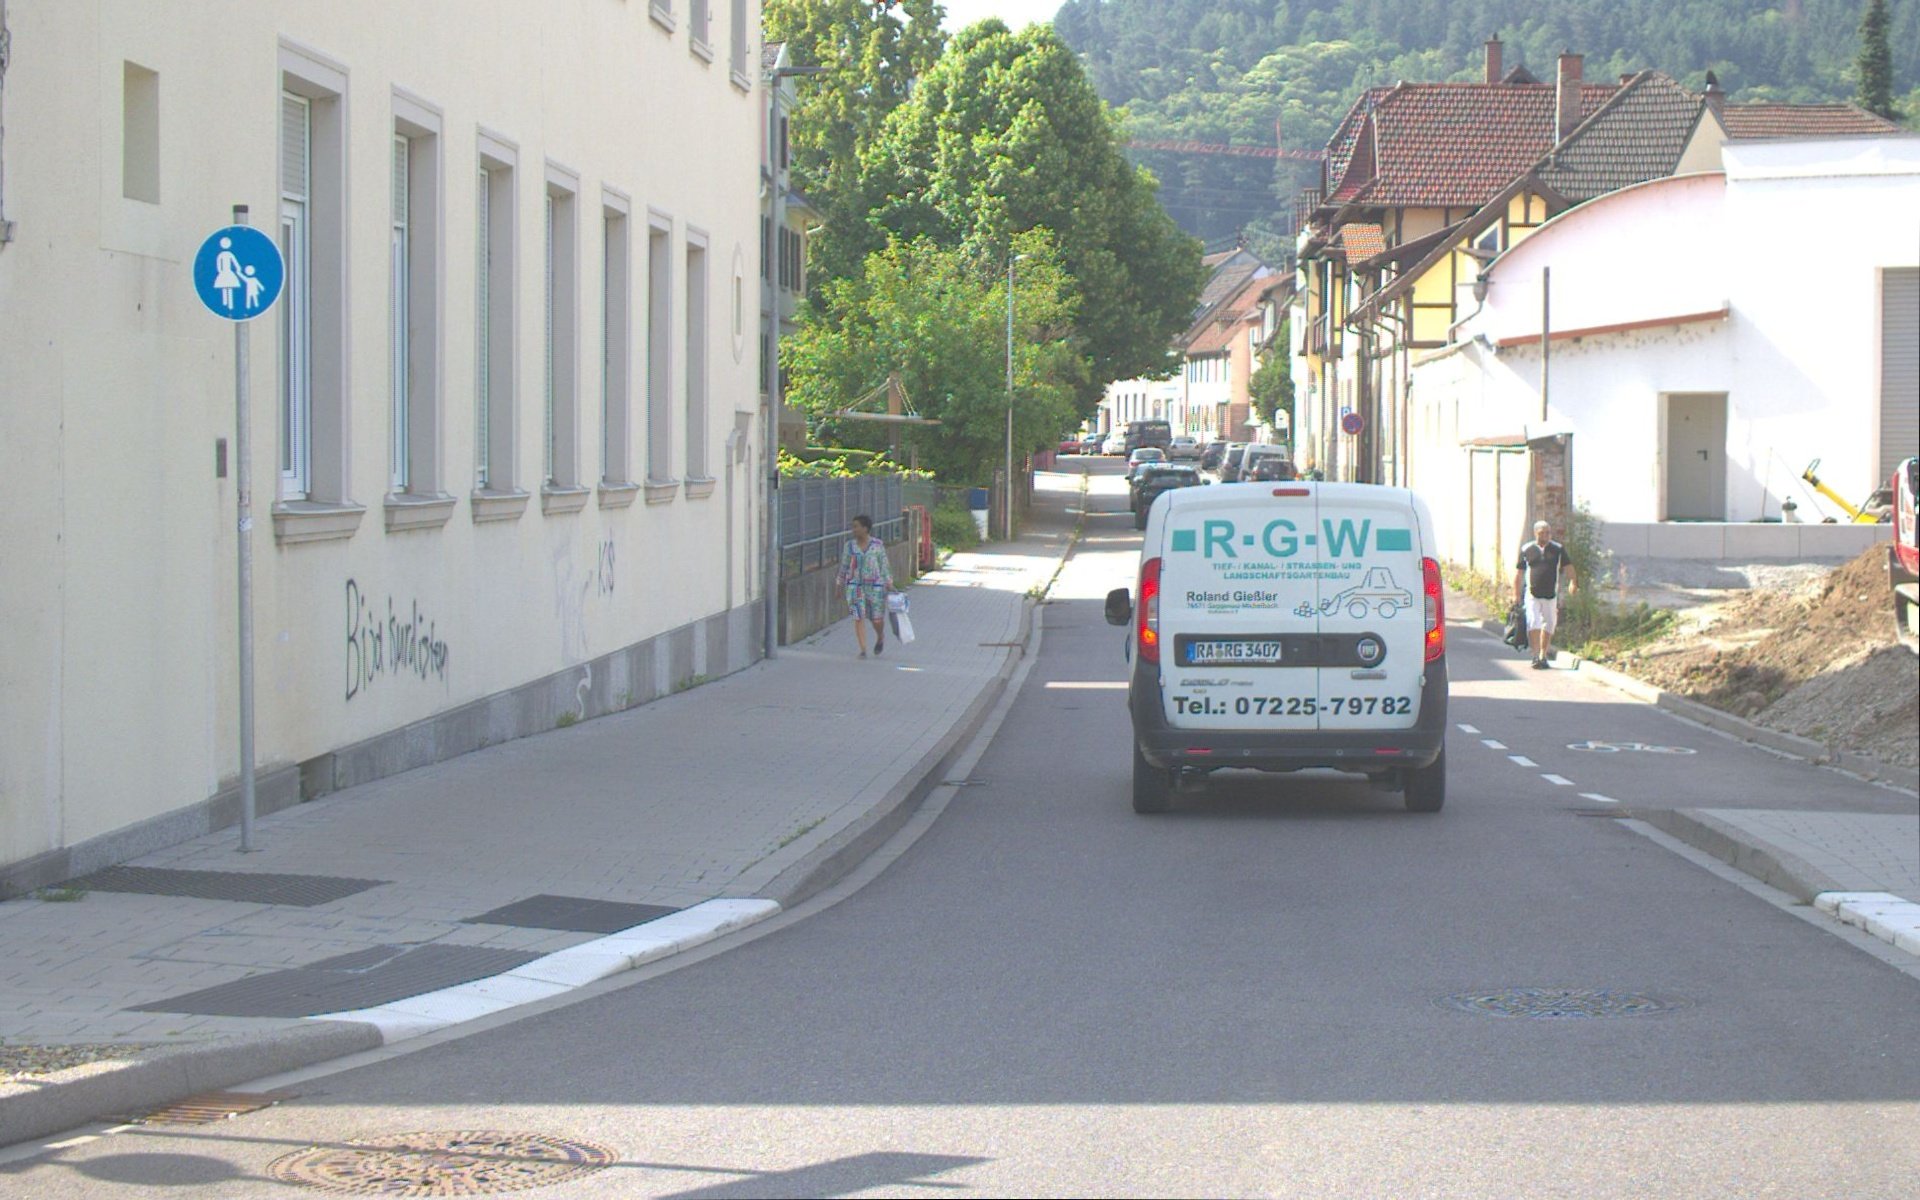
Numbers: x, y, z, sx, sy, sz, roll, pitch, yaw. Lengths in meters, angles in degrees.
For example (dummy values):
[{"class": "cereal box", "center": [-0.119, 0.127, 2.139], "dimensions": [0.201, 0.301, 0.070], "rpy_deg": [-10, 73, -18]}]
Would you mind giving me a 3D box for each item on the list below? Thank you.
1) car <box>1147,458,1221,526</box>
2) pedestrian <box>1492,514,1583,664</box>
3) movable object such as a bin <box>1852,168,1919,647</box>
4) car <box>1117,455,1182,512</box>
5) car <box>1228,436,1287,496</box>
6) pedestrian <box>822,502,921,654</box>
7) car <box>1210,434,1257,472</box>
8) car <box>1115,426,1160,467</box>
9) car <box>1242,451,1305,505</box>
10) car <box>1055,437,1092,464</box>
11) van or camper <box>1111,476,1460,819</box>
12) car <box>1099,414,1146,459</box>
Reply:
[{"class": "car", "center": [5.813, -2.843, 89.555], "dimensions": [1.811, 1.591, 3.927], "rpy_deg": [3, 3, 3]}, {"class": "pedestrian", "center": [6.626, -0.132, 39.494], "dimensions": [0.888, 1.677, 0.718], "rpy_deg": [2, 2, 3]}, {"class": "movable object such as a bin", "center": [8.697, -1.490, 26.570], "dimensions": [2.296, 3.840, 7.797], "rpy_deg": [3, 2, 7]}, {"class": "car", "center": [5.794, -3.594, 105.647], "dimensions": [1.810, 1.591, 3.927], "rpy_deg": [3, 3, 1]}, {"class": "car", "center": [10.413, -4.726, 120.488], "dimensions": [1.871, 2.006, 4.000], "rpy_deg": [1, 3, 3]}, {"class": "pedestrian", "center": [-0.980, -0.251, 38.230], "dimensions": [0.958, 1.625, 0.758], "rpy_deg": [3, 2, 3]}, {"class": "car", "center": [10.892, -5.877, 137.099], "dimensions": [1.669, 1.502, 4.001], "rpy_deg": [0, 3, 1]}, {"class": "car", "center": [7.562, -6.524, 146.002], "dimensions": [1.811, 1.591, 3.927], "rpy_deg": [3, 3, 3]}, {"class": "car", "center": [10.060, -3.938, 110.490], "dimensions": [1.811, 1.591, 3.927], "rpy_deg": [3, 3, 3]}, {"class": "car", "center": [7.591, -10.048, 230.730], "dimensions": [1.771, 1.792, 4.002], "rpy_deg": [0, 3, -8]}, {"class": "van or camper", "center": [1.849, 0.235, 20.656], "dimensions": [1.828, 1.838, 4.188], "rpy_deg": [0, 1, 2]}, {"class": "car", "center": [10.259, -10.345, 217.501], "dimensions": [2.875, 2.825, 6.125], "rpy_deg": [0, 3, 1]}]
